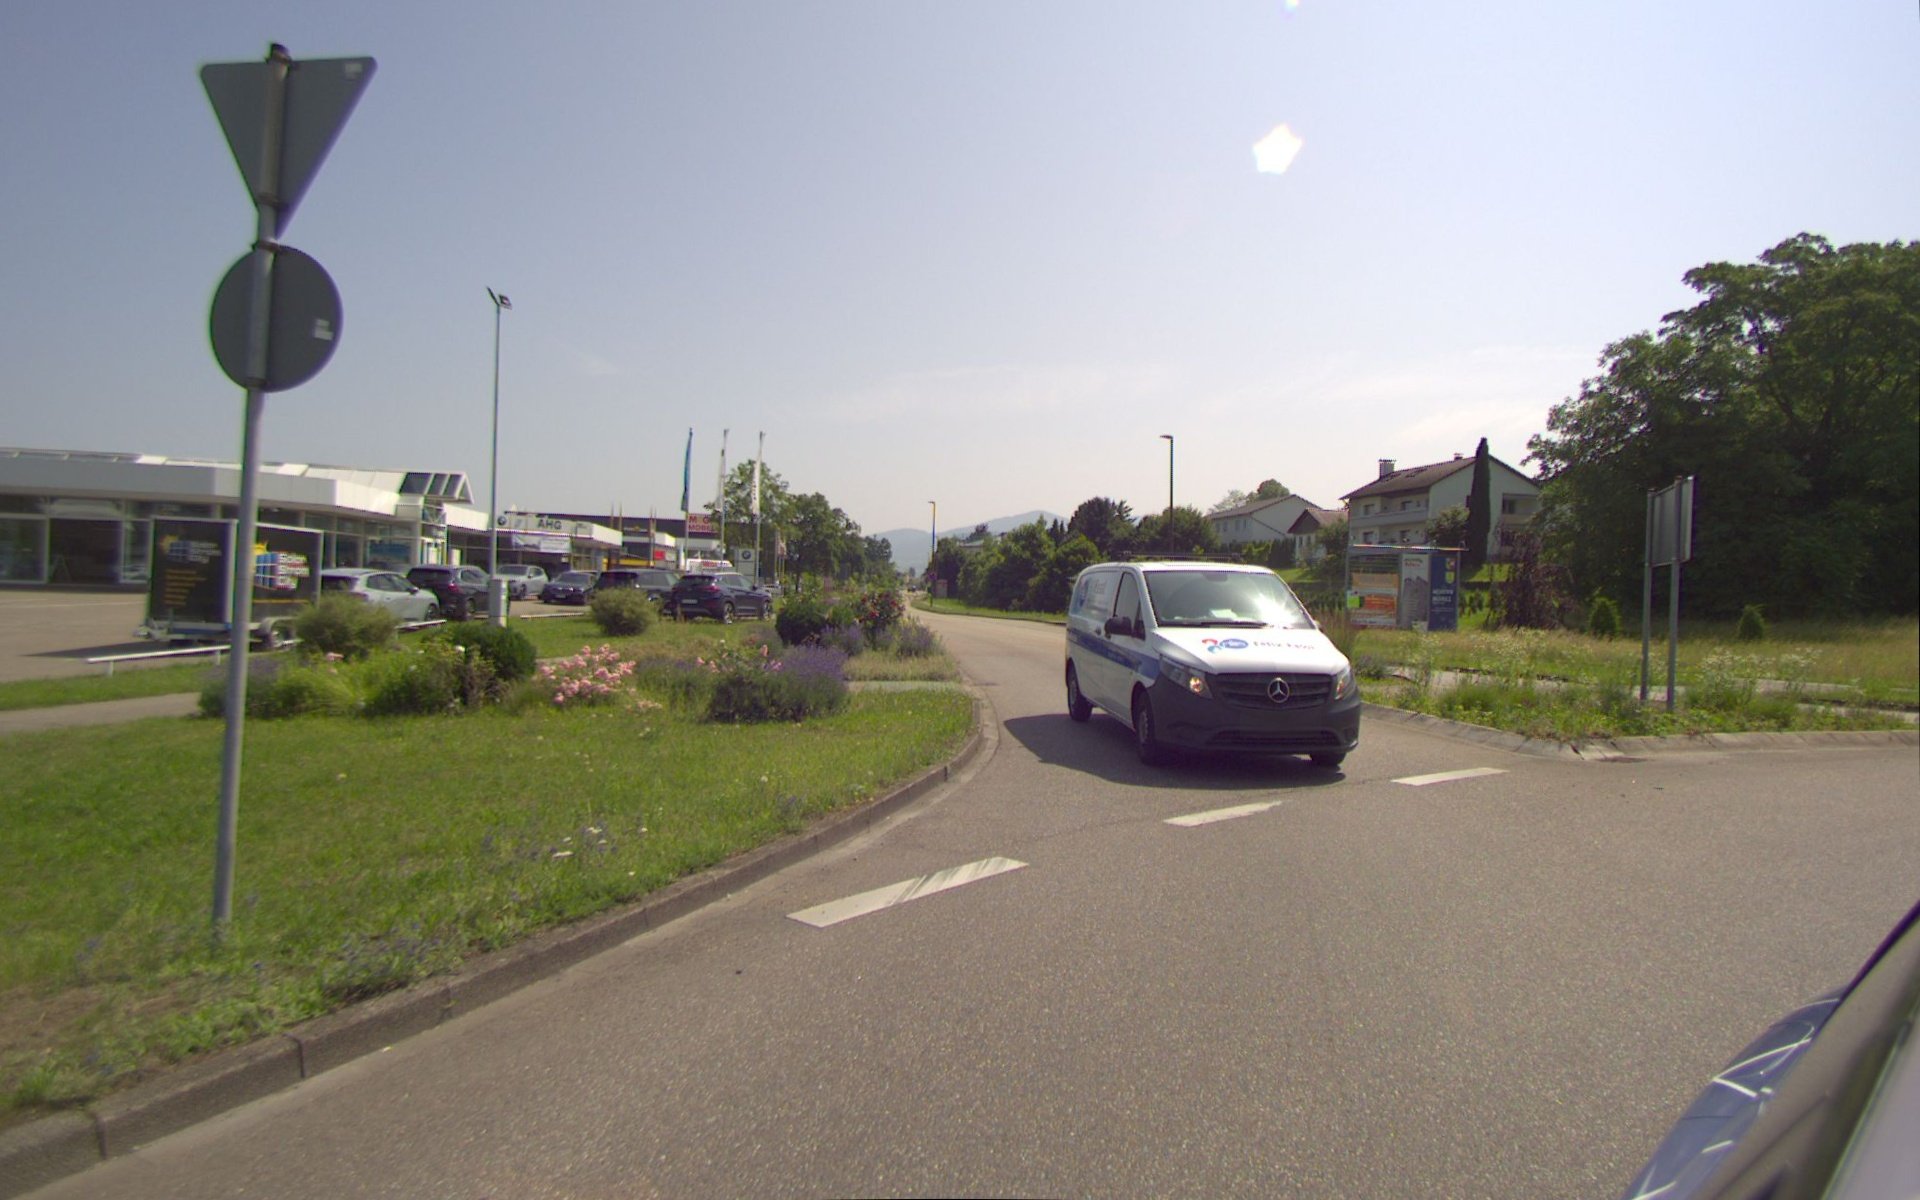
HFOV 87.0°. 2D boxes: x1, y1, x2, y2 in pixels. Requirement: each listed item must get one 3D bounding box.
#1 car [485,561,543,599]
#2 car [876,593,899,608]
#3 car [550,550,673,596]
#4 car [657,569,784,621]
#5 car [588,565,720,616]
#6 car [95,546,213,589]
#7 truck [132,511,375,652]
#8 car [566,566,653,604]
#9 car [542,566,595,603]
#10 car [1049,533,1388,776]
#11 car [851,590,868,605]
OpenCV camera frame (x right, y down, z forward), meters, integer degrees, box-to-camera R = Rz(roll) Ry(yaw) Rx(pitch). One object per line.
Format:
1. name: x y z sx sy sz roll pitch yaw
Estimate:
1. car: -20.914 -0.907 47.595 1.549 1.675 3.703 0 0 -8
2. car: -7.765 0.018 108.766 1.736 1.502 4.050 1 1 -14
3. car: -12.581 -0.958 36.820 1.887 1.531 4.345 2 1 21
4. car: -7.692 -0.169 32.954 1.887 1.531 4.345 2 1 21
5. car: -9.943 -0.316 33.260 1.887 1.531 4.345 2 1 21
6. car: -32.854 -1.312 41.415 1.871 1.606 4.046 1 1 -6
7. truck: -15.418 -0.427 22.580 1.910 2.698 5.634 1 1 -6
8. car: -19.169 -0.790 55.488 4.175 2.039 2.002 0 0 -7
9. car: -18.209 -0.699 47.195 1.549 1.675 3.703 0 0 -8
10. car: 2.352 0.439 10.856 1.823 1.962 5.235 0 0 -6
11. car: -11.583 -0.309 116.389 1.737 1.502 4.048 1 1 -9
